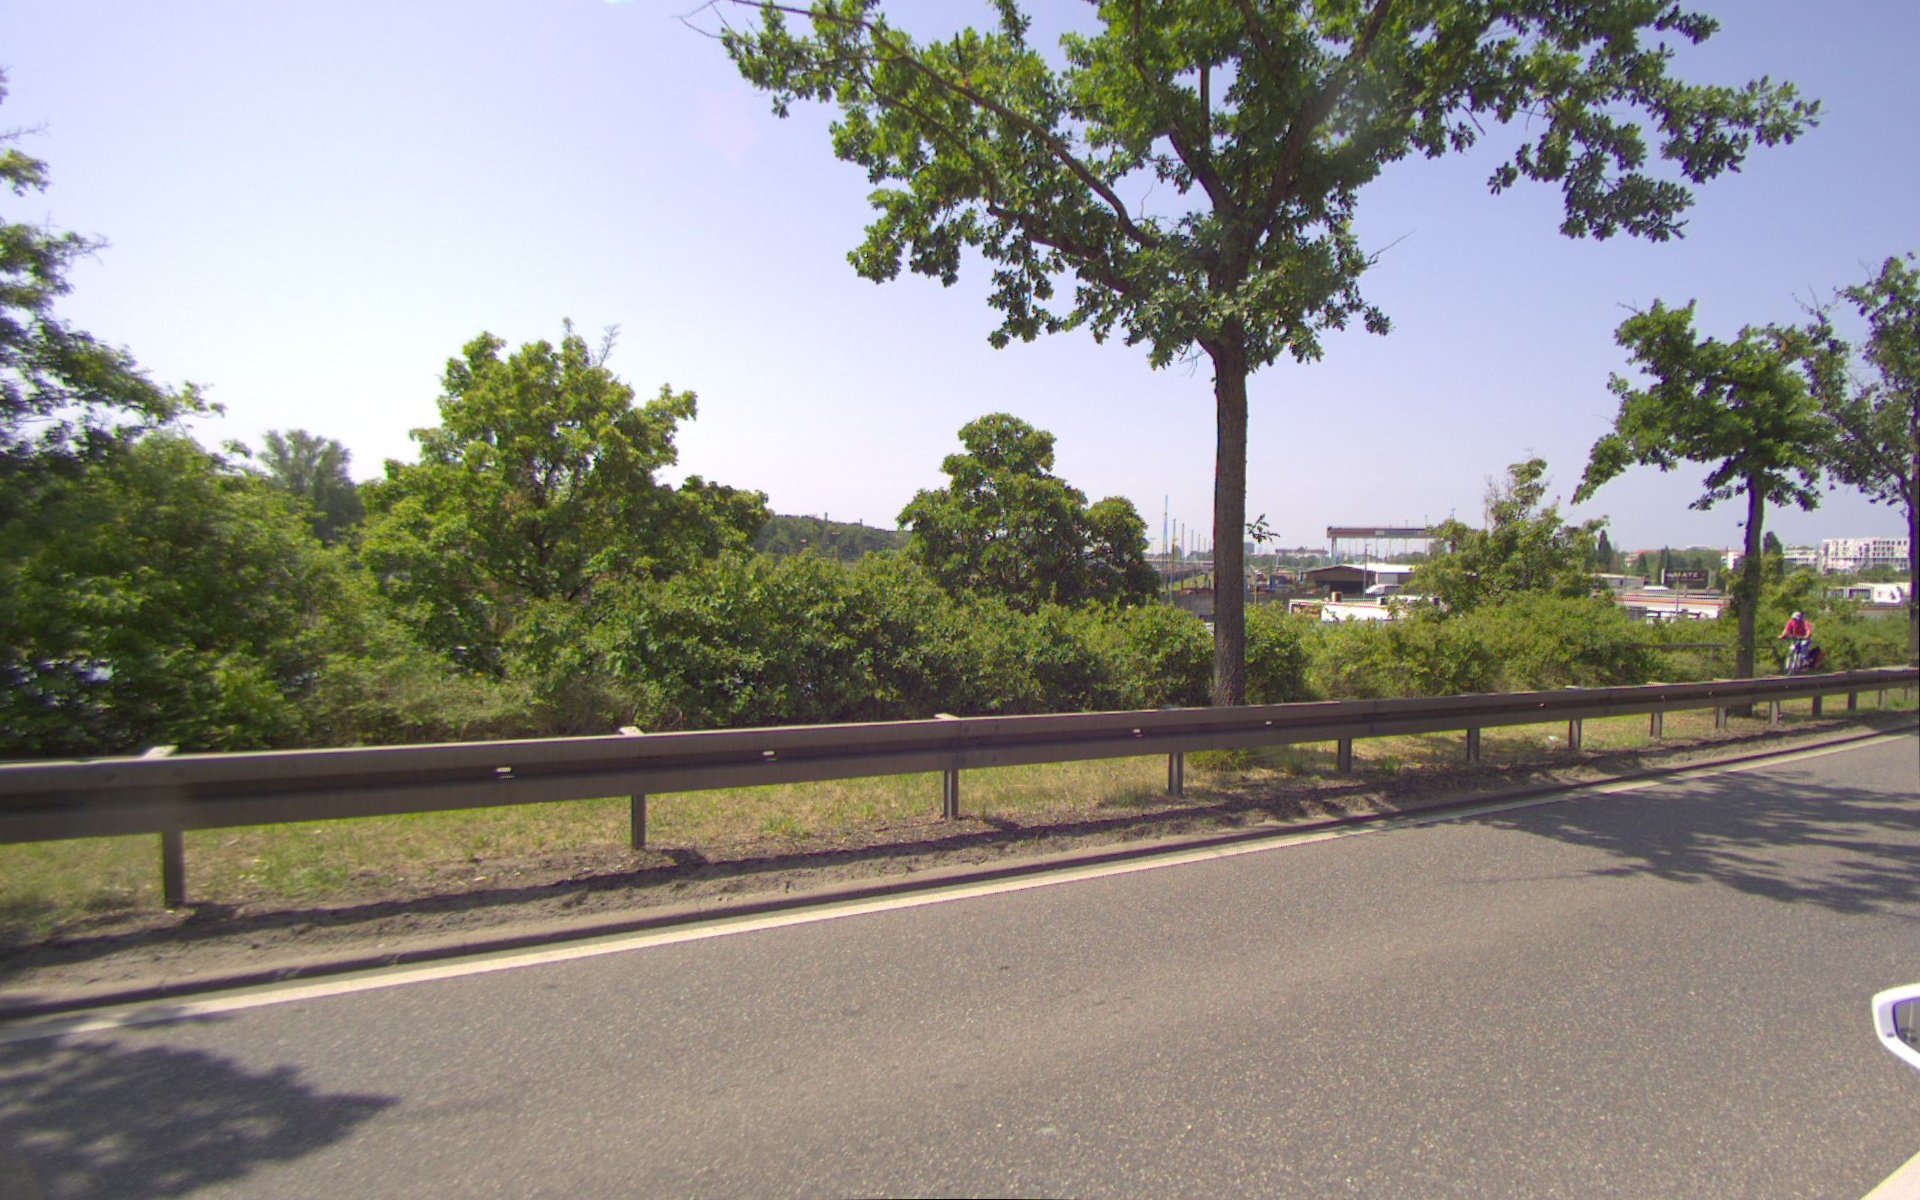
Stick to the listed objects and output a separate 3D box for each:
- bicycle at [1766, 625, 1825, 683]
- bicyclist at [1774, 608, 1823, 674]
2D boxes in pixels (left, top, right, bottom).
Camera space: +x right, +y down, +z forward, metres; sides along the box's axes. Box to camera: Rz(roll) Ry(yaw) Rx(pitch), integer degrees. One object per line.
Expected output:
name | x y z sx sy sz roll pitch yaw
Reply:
bicycle | 19.875 1.266 23.877 2.030 1.298 0.727 2 1 -41
bicyclist | 19.930 0.966 23.879 0.751 1.509 0.735 1 1 -41
